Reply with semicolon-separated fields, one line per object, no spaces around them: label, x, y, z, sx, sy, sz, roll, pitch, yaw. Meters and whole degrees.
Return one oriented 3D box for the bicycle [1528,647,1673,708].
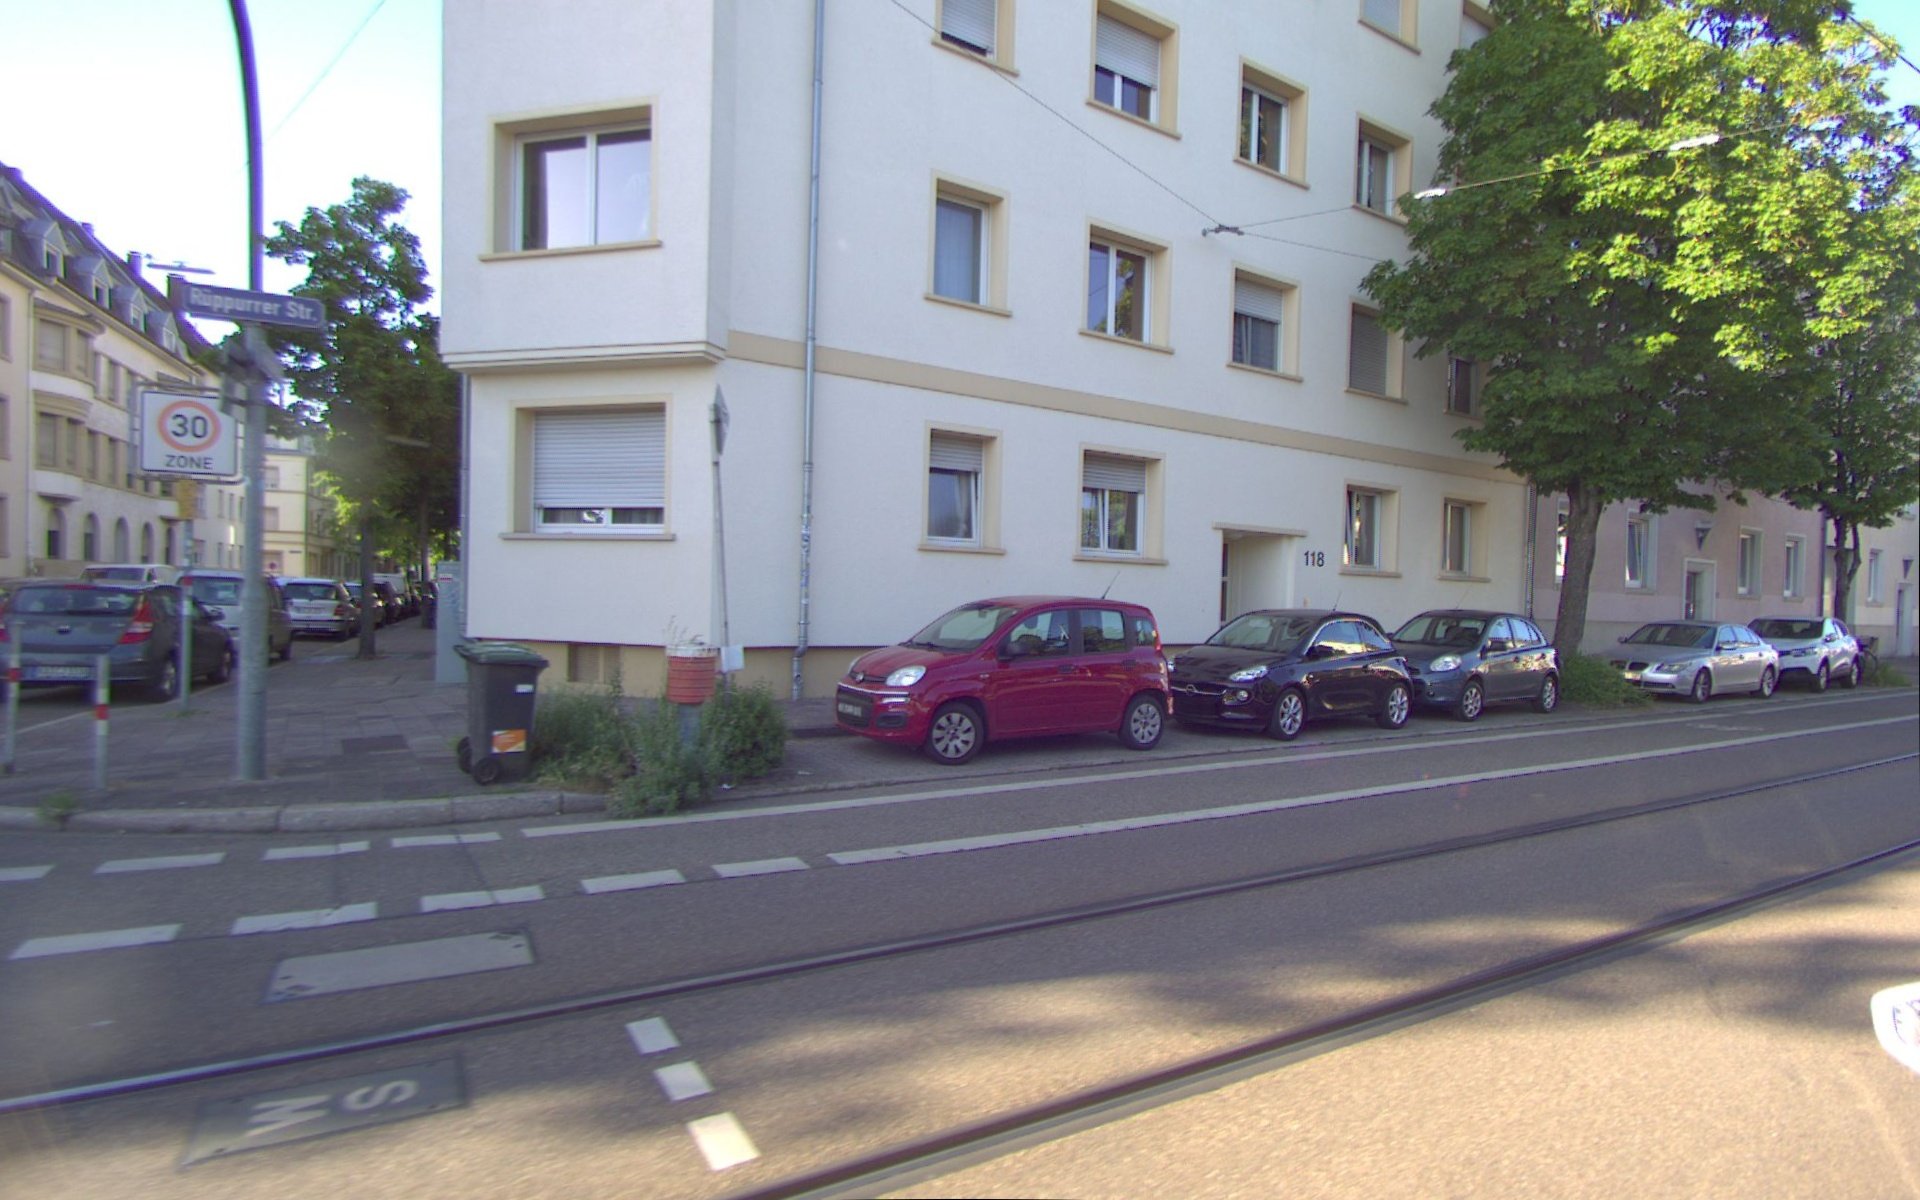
bicycle;11.172;1.330;17.618;0.472;0.836;2.114;1;2;-33

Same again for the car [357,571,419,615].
car;-23.727;-0.327;41.760;1.882;1.675;3.974;1;2;-25

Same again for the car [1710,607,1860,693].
car;18.514;1.064;22.480;4.257;1.690;1.639;1;2;-38

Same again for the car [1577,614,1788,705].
car;13.984;1.082;19.359;4.609;1.495;1.679;1;2;-33

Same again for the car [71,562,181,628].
car;-25.099;-0.158;30.350;1.717;1.859;3.496;1;0;-26

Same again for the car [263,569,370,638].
car;-17.281;0.039;27.157;1.882;1.675;3.974;1;2;-25

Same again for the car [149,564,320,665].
car;-13.598;0.200;19.082;1.882;1.675;3.974;1;2;-25

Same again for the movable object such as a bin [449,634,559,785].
movable object such as a bin;-3.282;0.758;7.223;0.652;1.001;0.482;1;2;-31

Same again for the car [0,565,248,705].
car;-11.090;0.359;13.388;1.882;1.550;3.974;1;2;-25

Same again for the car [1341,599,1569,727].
car;7.483;0.866;15.066;3.698;1.635;1.578;1;2;-38

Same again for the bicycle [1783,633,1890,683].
bicycle;21.588;1.411;24.781;0.471;1.060;1.914;1;2;-31

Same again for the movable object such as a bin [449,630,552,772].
movable object such as a bin;-3.503;0.747;7.657;0.652;1.001;0.482;1;2;-31

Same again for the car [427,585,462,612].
car;-34.506;-0.128;67.319;1.882;1.675;3.974;1;2;-25

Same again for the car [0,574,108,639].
car;-22.472;0.125;24.619;1.557;1.477;3.496;0;1;-26

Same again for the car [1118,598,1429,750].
car;4.002;0.824;12.628;3.821;1.550;1.773;1;2;-36

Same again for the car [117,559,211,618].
car;-26.808;-0.373;33.937;1.717;1.859;3.496;1;0;-26

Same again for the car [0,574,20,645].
car;-20.361;0.211;19.880;1.557;1.477;3.496;0;1;-26

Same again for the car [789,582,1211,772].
car;0.456;0.679;10.167;3.953;1.550;1.680;1;2;-30
